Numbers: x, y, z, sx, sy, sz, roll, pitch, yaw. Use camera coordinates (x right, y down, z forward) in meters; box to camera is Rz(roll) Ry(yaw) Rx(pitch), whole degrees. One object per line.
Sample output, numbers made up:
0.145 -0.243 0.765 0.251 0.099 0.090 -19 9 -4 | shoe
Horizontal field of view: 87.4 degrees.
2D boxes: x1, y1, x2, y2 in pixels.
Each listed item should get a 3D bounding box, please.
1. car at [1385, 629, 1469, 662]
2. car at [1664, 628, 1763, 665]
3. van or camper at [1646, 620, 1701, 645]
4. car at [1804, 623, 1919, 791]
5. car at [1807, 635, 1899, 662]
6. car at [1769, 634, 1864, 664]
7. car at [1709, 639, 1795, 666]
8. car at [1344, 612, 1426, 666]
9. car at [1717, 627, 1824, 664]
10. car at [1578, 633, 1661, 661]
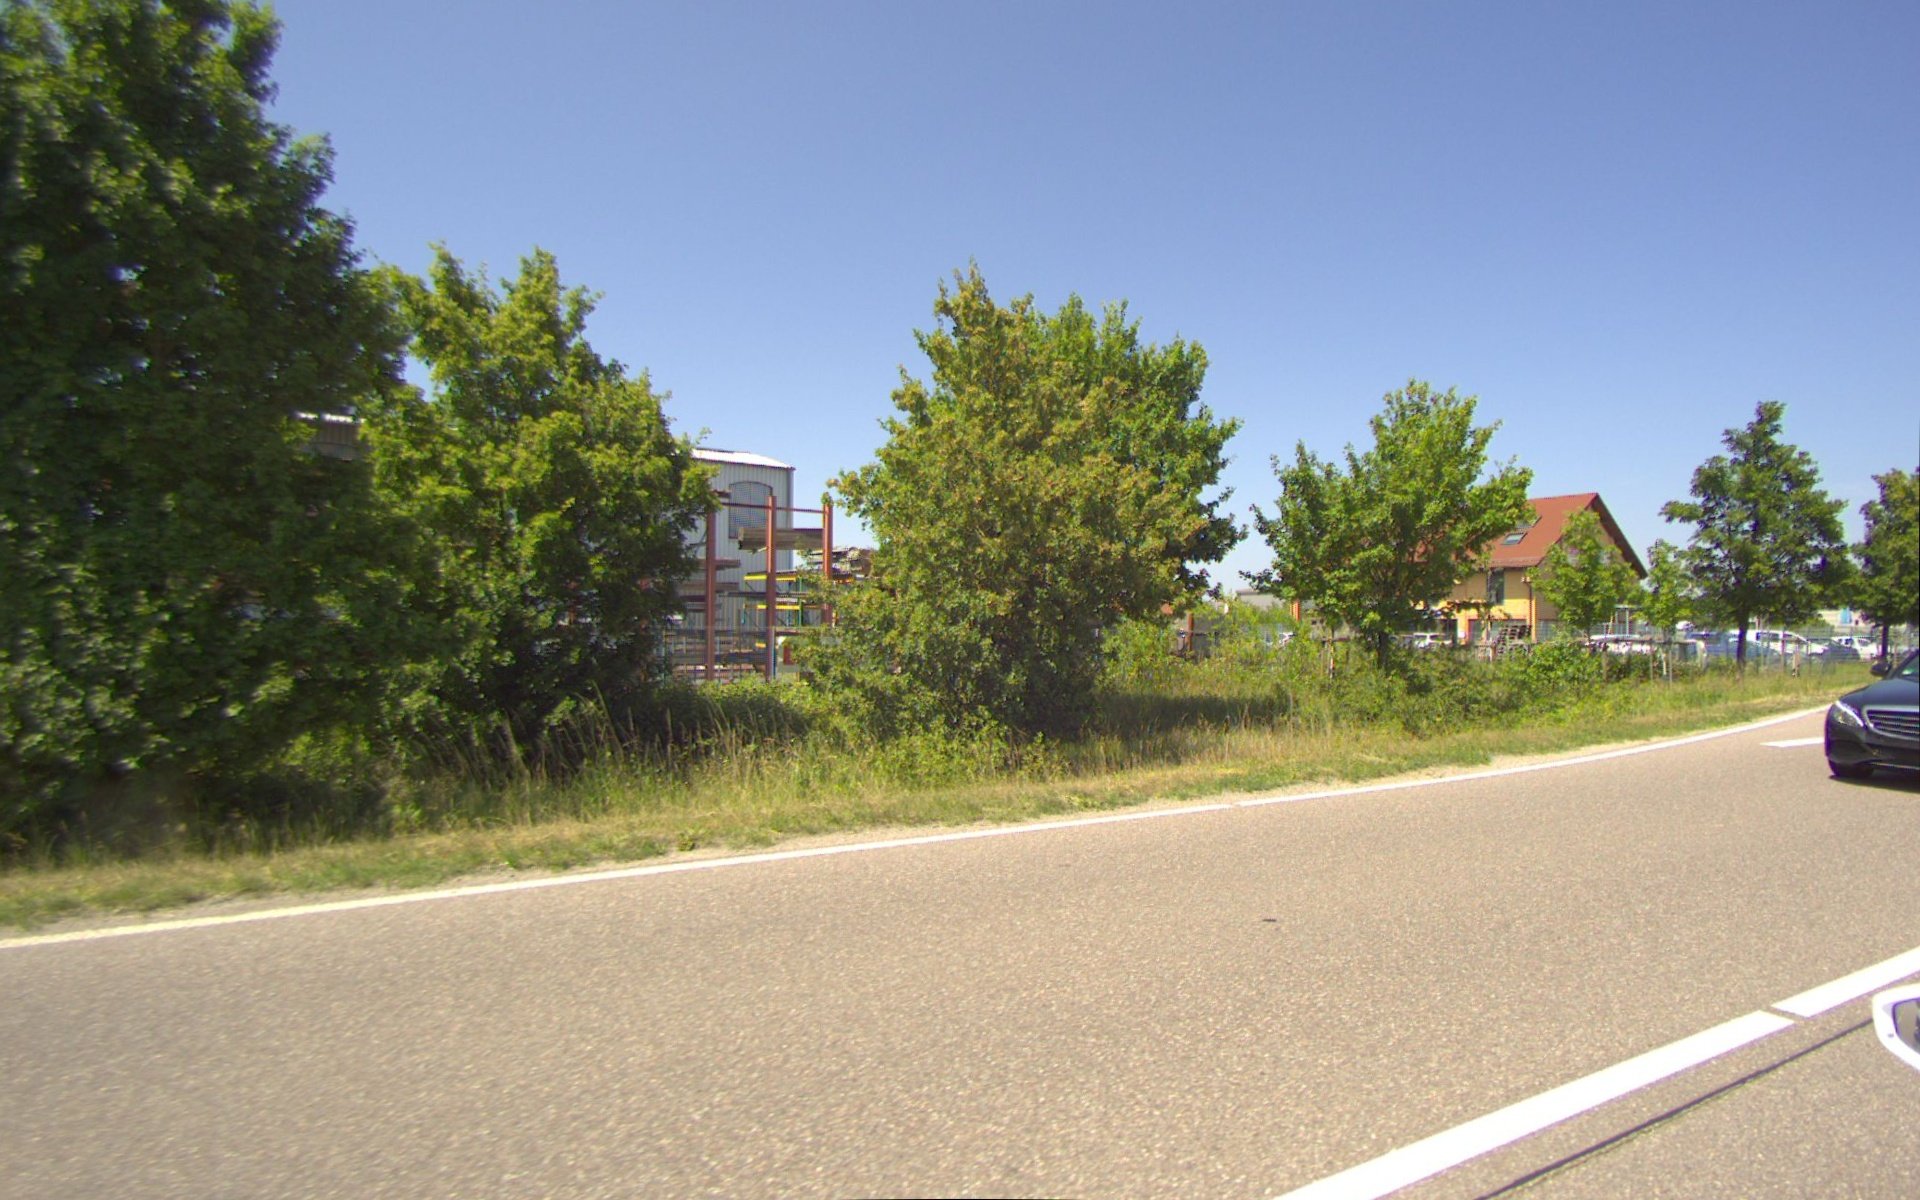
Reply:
26.843 2.613 57.968 2.020 1.830 4.625 0 -2 -12 | car
41.066 2.505 54.825 4.238 1.825 2.016 1 0 38 | car
73.567 3.367 103.516 6.468 2.394 2.449 2 -1 -33 | van or camper
10.322 0.988 9.811 4.480 1.439 1.773 1 0 -30 | car
55.409 3.005 62.384 3.917 1.499 1.672 1 0 23 | car
51.360 2.892 60.305 3.925 1.617 1.998 1 0 26 | car
44.014 2.901 55.927 3.619 1.281 1.810 1 -1 36 | car
23.021 2.130 54.722 2.317 2.758 5.748 0 -2 4 | car
47.137 2.632 58.537 4.581 1.980 1.823 1 0 30 | car
37.995 2.683 57.920 1.624 1.427 3.667 1 0 -31 | car
